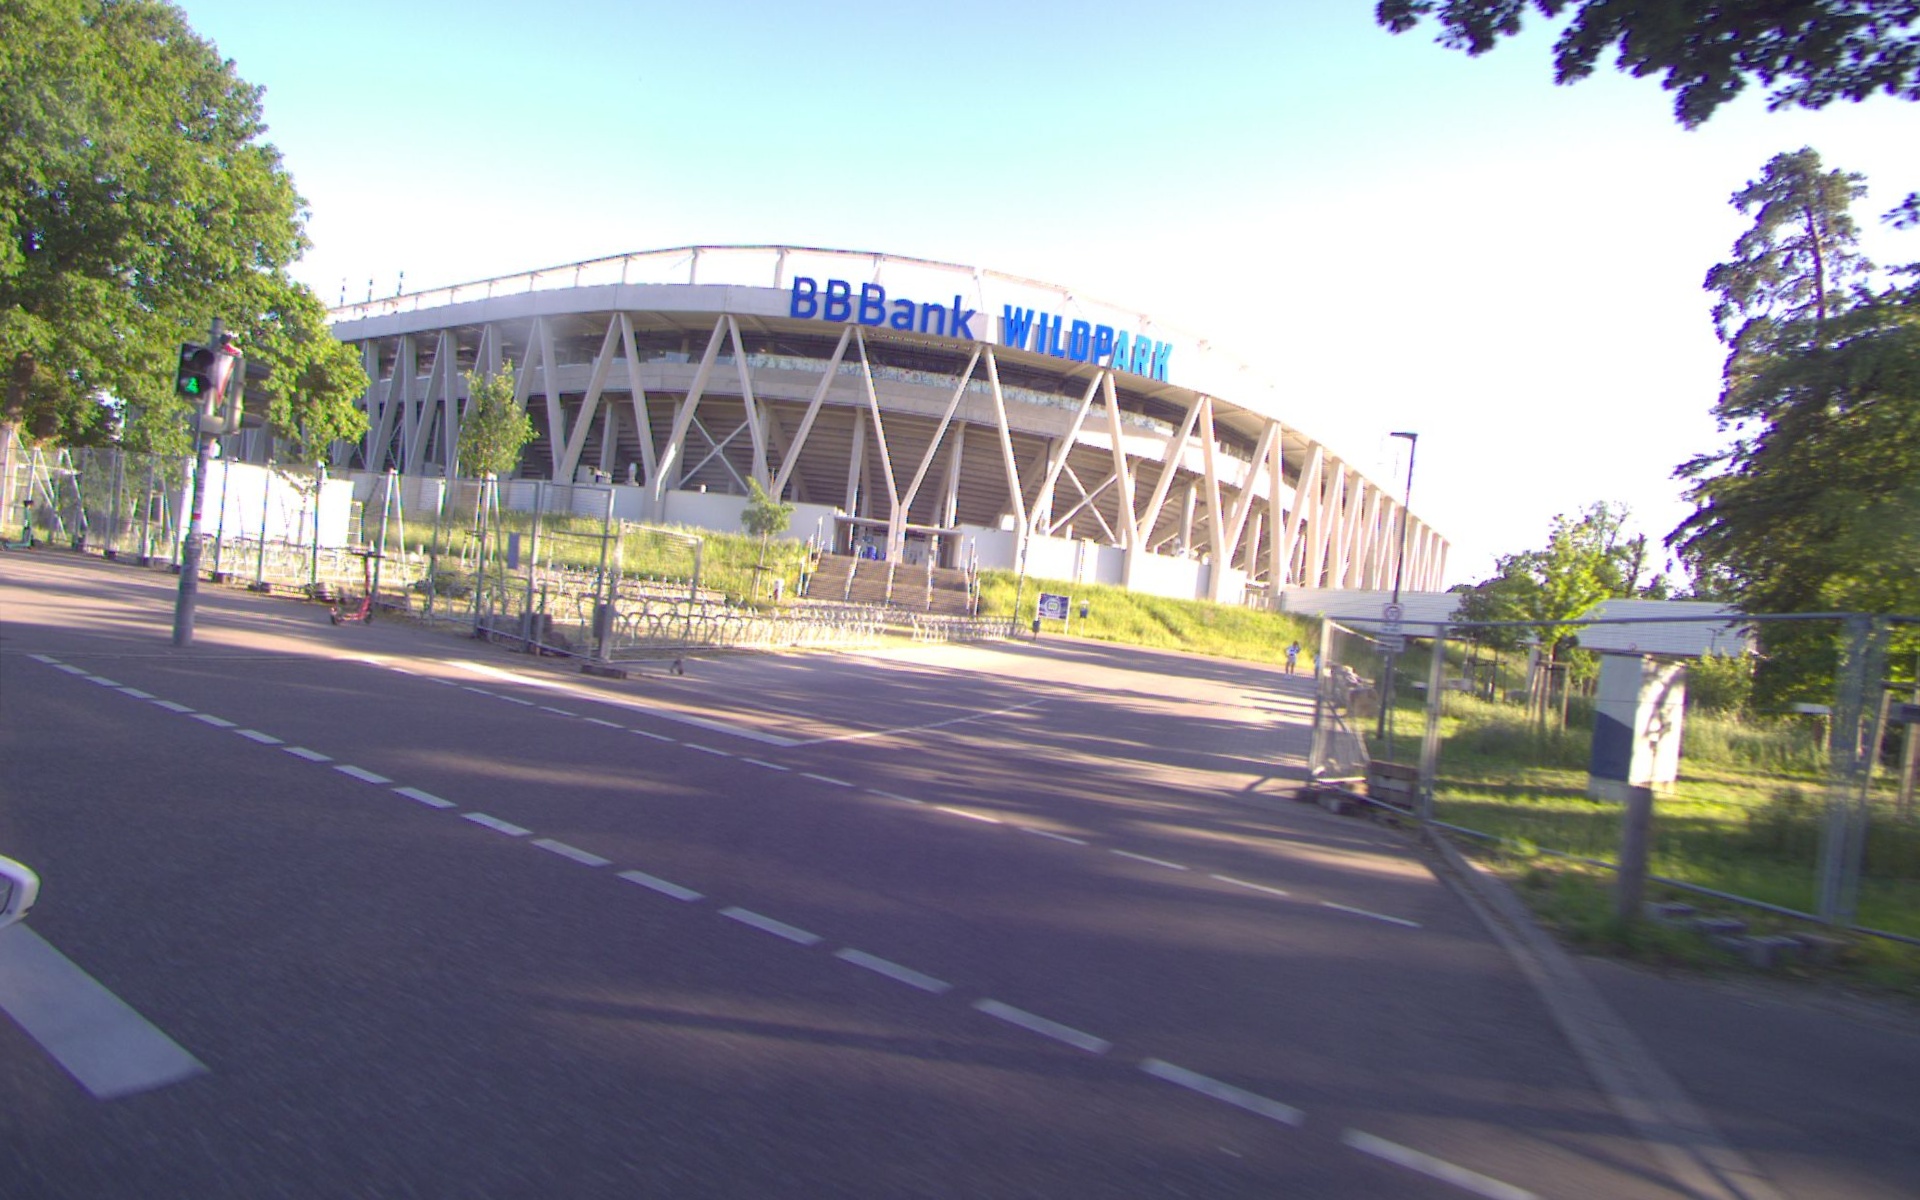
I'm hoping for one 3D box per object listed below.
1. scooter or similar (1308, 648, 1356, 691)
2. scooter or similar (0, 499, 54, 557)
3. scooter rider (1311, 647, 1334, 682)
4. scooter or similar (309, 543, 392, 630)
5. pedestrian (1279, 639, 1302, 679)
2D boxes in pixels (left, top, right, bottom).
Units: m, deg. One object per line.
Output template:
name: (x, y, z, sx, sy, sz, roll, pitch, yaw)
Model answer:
scooter or similar: (14.780, 2.744, 40.012, 1.499, 1.507, 0.648, 7, -2, 2)
scooter or similar: (-22.533, -1.723, 24.106, 0.561, 1.271, 1.593, 6, -1, -20)
scooter rider: (14.388, 2.564, 39.986, 0.595, 1.289, 0.546, 7, -2, 3)
scooter or similar: (-9.973, -0.211, 16.515, 0.594, 1.303, 1.359, 7, -1, -11)
pedestrian: (14.134, 2.521, 43.022, 0.722, 1.580, 0.582, 6, -2, 27)
